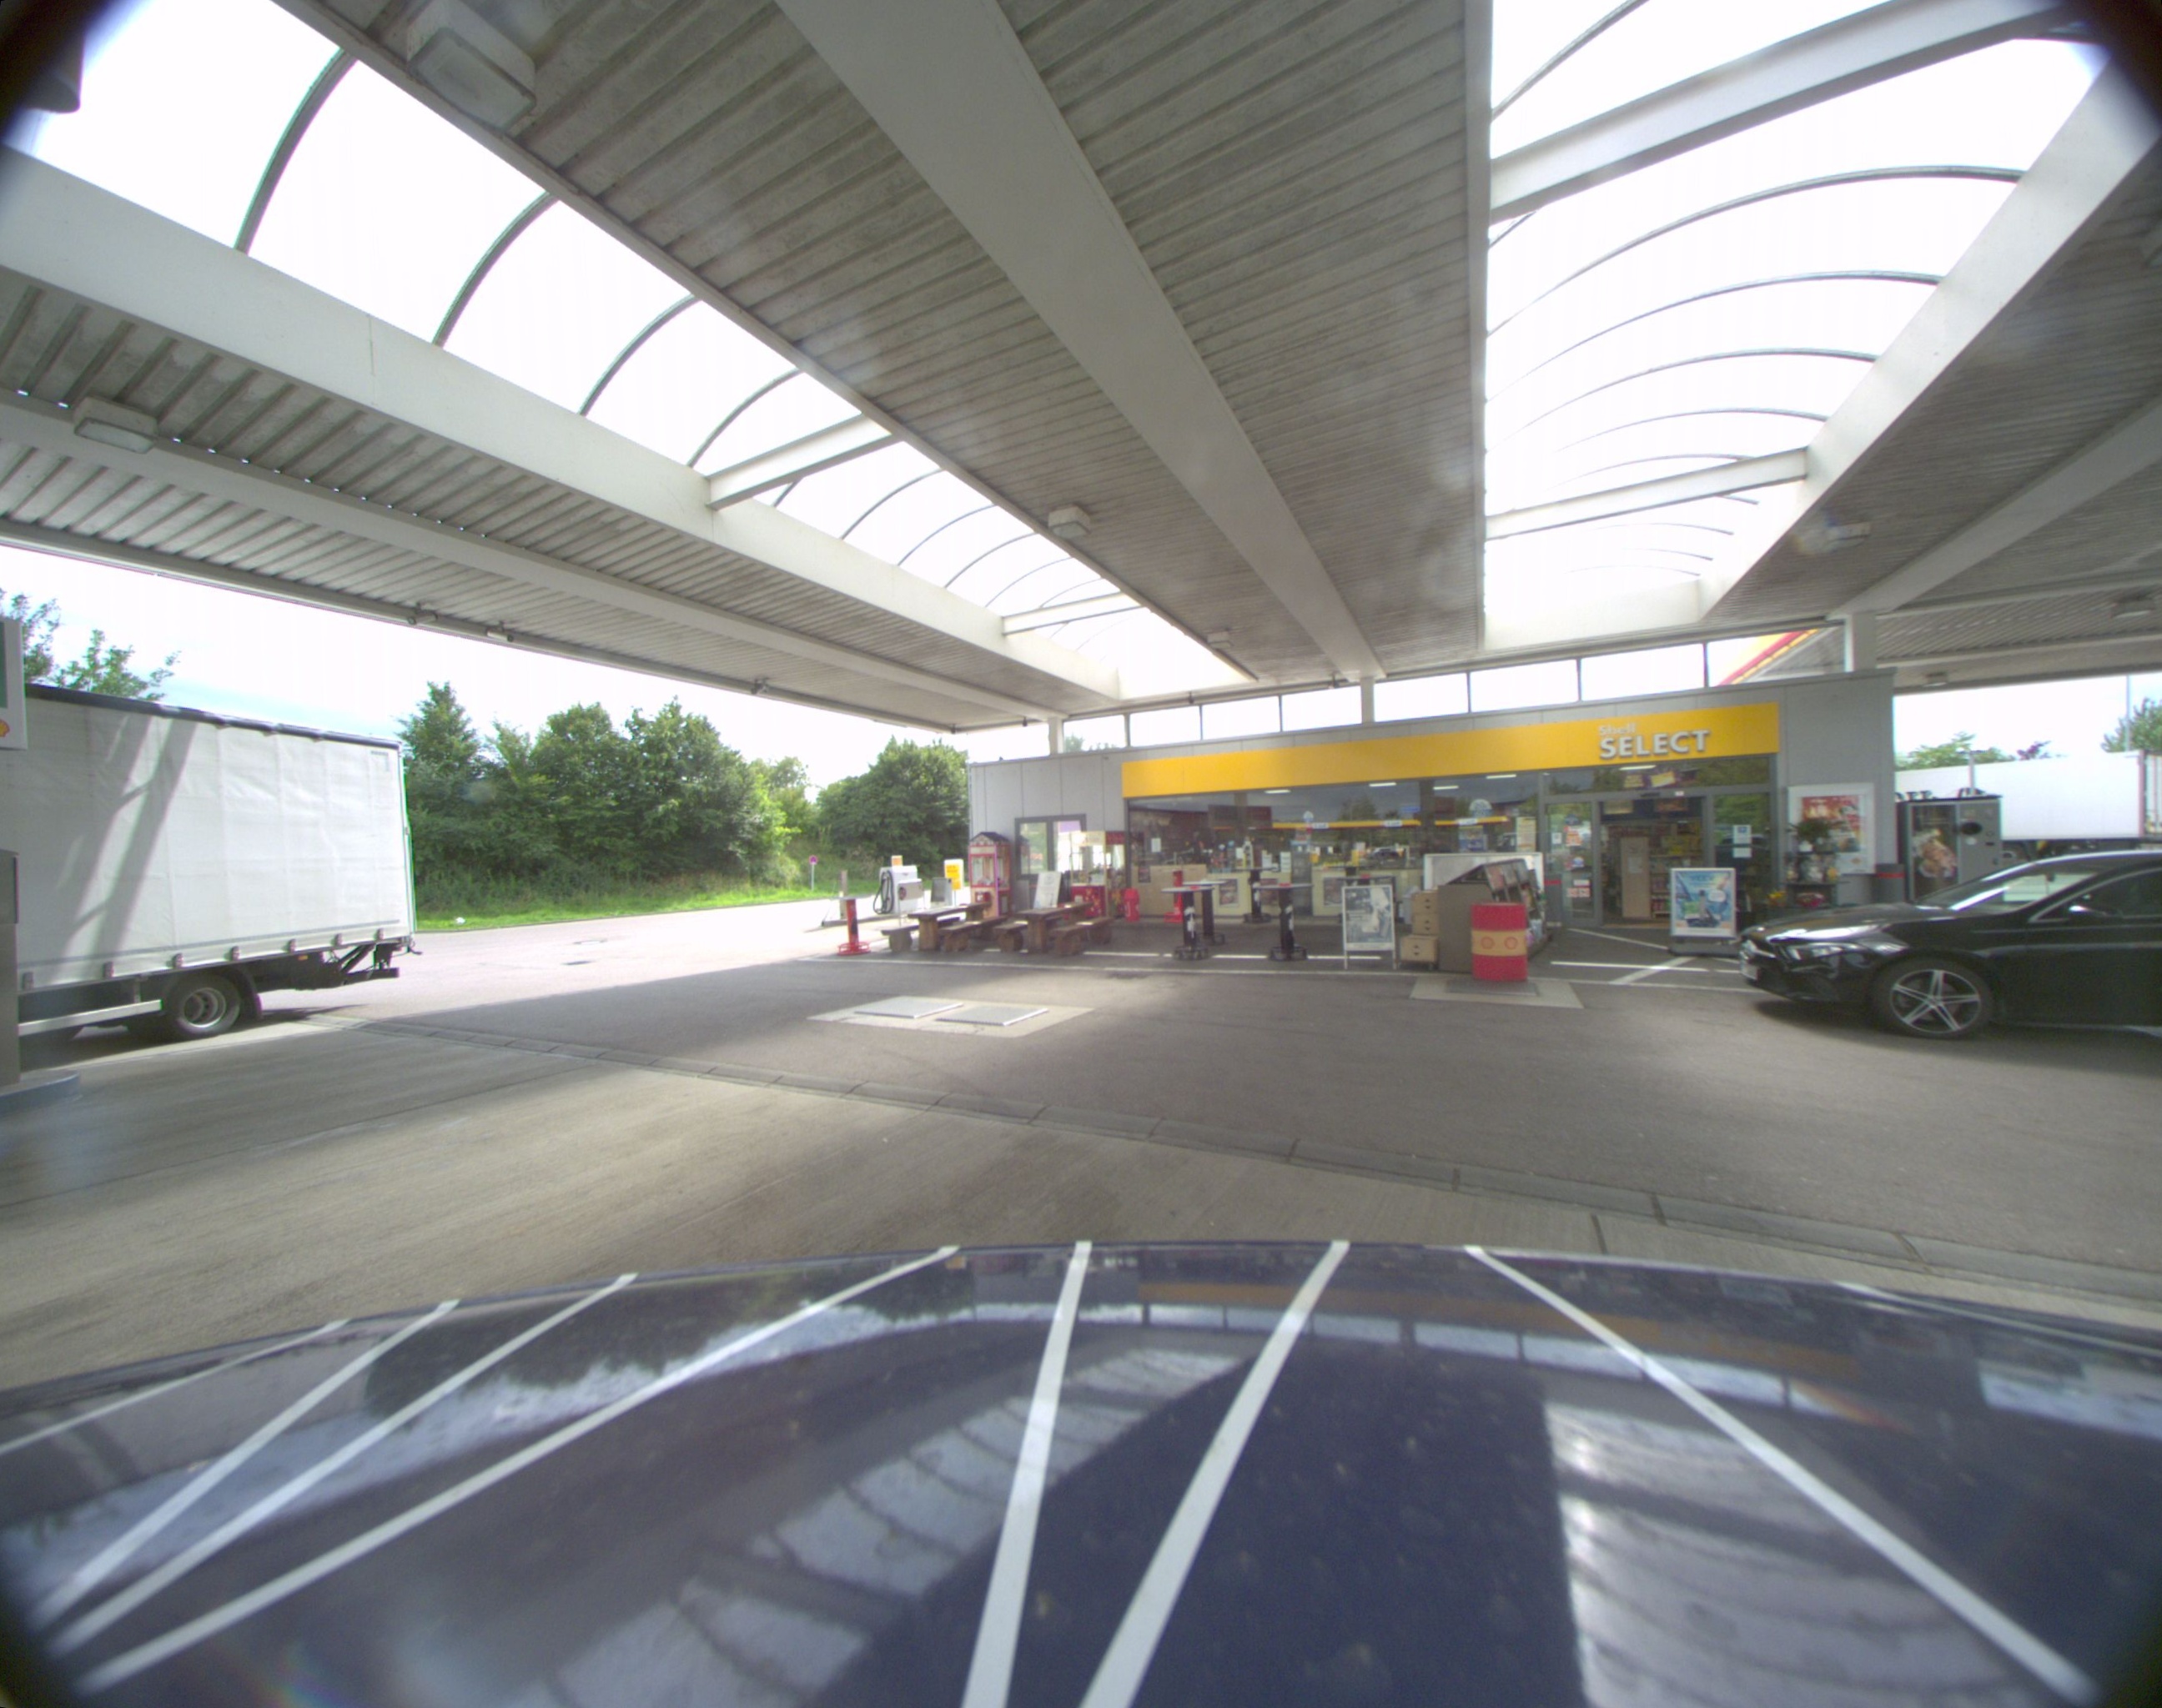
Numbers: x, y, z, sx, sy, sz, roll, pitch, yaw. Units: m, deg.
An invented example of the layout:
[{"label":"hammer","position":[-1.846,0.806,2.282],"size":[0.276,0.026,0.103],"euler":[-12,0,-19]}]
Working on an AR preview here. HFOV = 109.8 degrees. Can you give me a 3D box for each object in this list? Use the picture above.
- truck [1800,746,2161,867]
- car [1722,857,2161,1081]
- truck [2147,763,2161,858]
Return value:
[{"label":"truck","position":[35.125,-1.610,30.071],"size":[2.796,3.982,9.578],"euler":[-3,1,-16]},{"label":"car","position":[8.158,0.814,5.986],"size":[4.461,1.491,1.782],"euler":[-2,1,28]},{"label":"truck","position":[51.473,-2.036,33.151],"size":[3.383,4.479,6.239],"euler":[-2,1,29]}]
